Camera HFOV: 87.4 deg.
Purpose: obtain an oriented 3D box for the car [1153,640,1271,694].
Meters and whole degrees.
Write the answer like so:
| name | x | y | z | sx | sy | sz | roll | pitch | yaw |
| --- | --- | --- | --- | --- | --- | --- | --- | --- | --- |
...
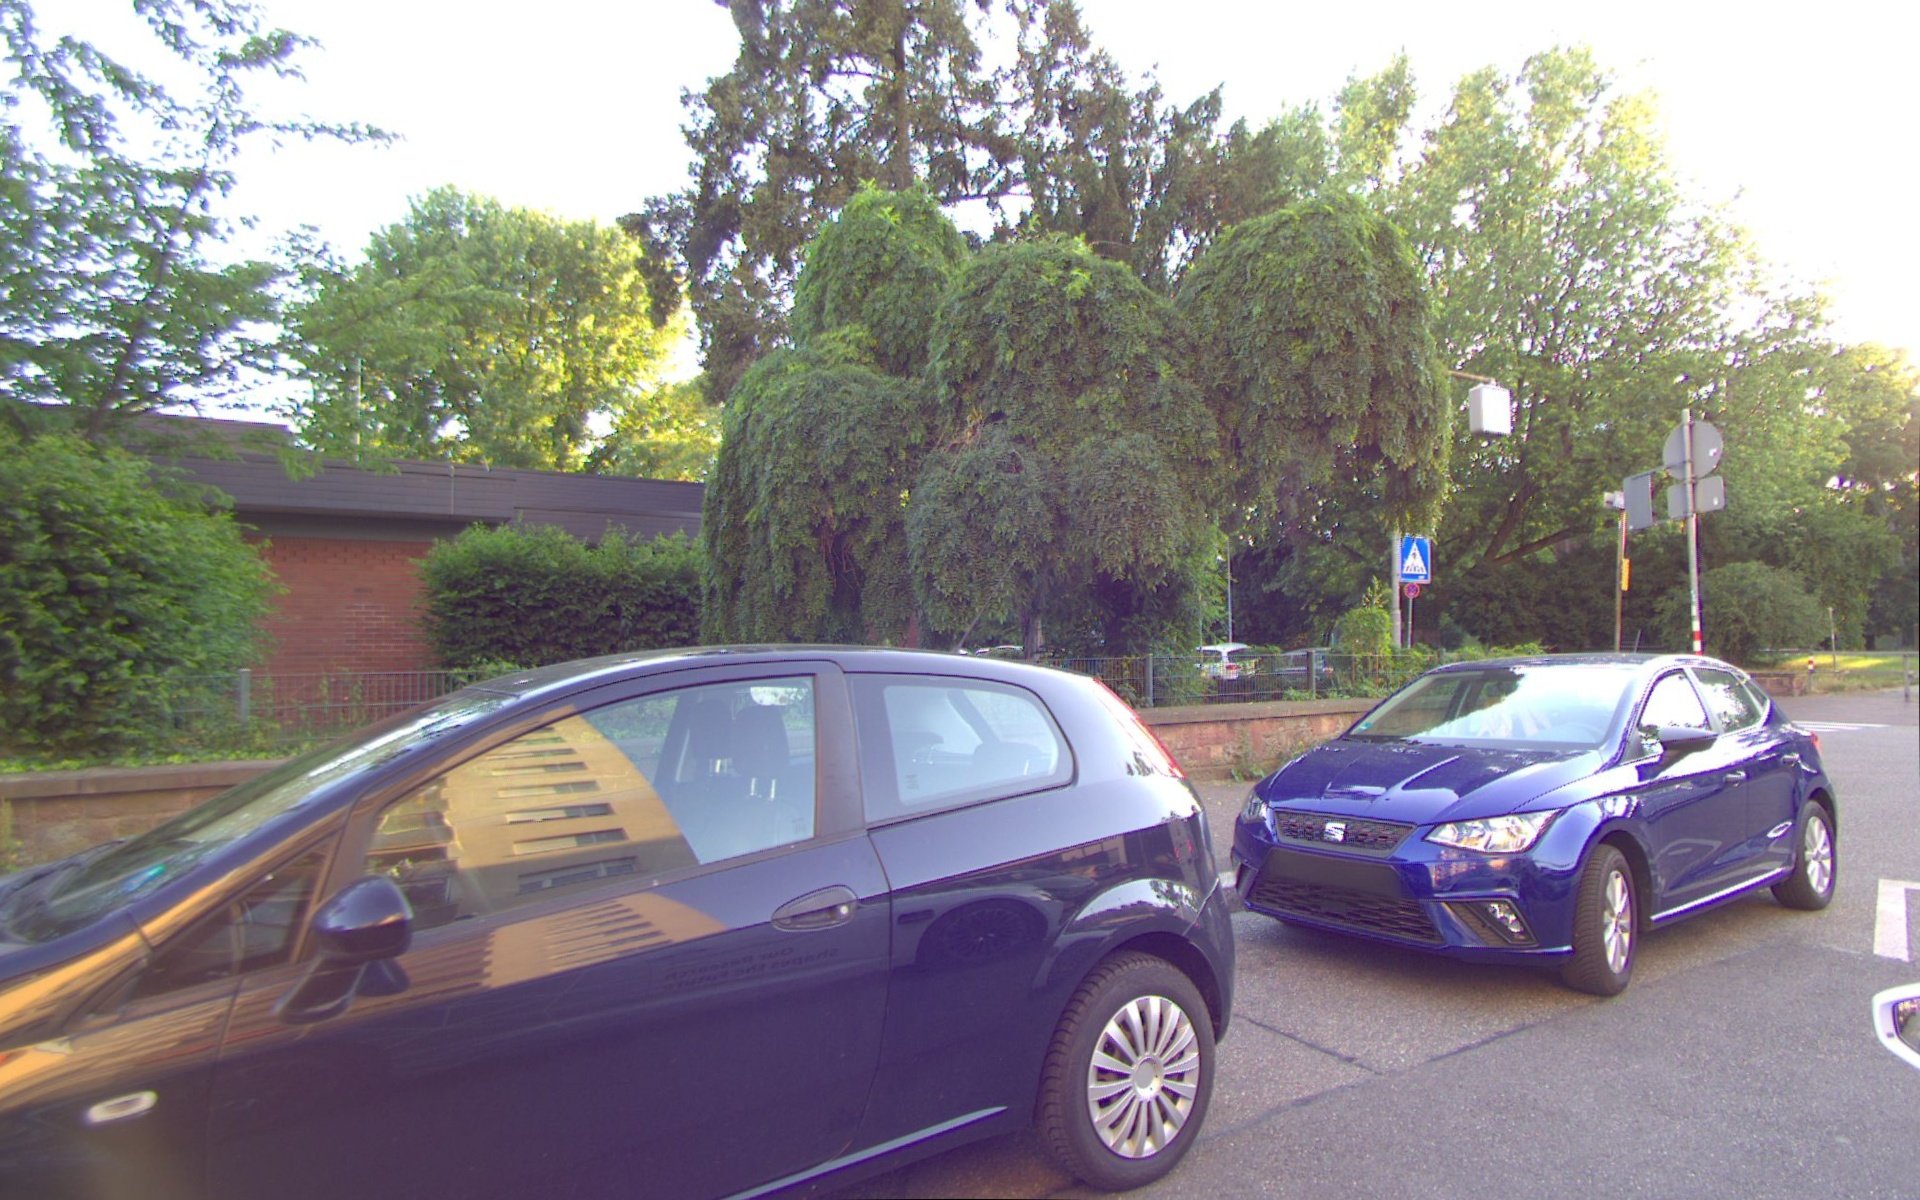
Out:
| name | x | y | z | sx | sy | sz | roll | pitch | yaw |
| --- | --- | --- | --- | --- | --- | --- | --- | --- | --- |
| car | 8.776 | 2.340 | 35.289 | 1.800 | 1.583 | 3.856 | -6 | 0 | -27 |

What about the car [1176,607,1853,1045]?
| name | x | y | z | sx | sy | sz | roll | pitch | yaw |
| --- | --- | --- | --- | --- | --- | --- | --- | --- | --- |
| car | 3.138 | 0.907 | 5.479 | 3.753 | 1.587 | 1.723 | 1 | -4 | -35 |

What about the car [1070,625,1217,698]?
| name | x | y | z | sx | sy | sz | roll | pitch | yaw |
| --- | --- | --- | --- | --- | --- | --- | --- | --- | --- |
| car | 5.029 | 1.746 | 28.054 | 1.801 | 1.821 | 4.212 | 4 | -5 | -28 |

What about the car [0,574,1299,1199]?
| name | x | y | z | sx | sy | sz | roll | pitch | yaw |
| --- | --- | --- | --- | --- | --- | --- | --- | --- | --- |
| car | -0.977 | 0.827 | 2.748 | 3.659 | 1.587 | 1.723 | 1 | -4 | -34 |

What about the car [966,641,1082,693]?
| name | x | y | z | sx | sy | sz | roll | pitch | yaw |
| --- | --- | --- | --- | --- | --- | --- | --- | --- | --- |
| car | 2.023 | 2.207 | 32.904 | 1.801 | 1.564 | 4.212 | 4 | -5 | -28 |

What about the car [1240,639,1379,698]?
| name | x | y | z | sx | sy | sz | roll | pitch | yaw |
| --- | --- | --- | --- | --- | --- | --- | --- | --- | --- |
| car | 10.662 | 2.080 | 30.918 | 1.798 | 1.511 | 3.843 | -6 | 0 | -24 |
